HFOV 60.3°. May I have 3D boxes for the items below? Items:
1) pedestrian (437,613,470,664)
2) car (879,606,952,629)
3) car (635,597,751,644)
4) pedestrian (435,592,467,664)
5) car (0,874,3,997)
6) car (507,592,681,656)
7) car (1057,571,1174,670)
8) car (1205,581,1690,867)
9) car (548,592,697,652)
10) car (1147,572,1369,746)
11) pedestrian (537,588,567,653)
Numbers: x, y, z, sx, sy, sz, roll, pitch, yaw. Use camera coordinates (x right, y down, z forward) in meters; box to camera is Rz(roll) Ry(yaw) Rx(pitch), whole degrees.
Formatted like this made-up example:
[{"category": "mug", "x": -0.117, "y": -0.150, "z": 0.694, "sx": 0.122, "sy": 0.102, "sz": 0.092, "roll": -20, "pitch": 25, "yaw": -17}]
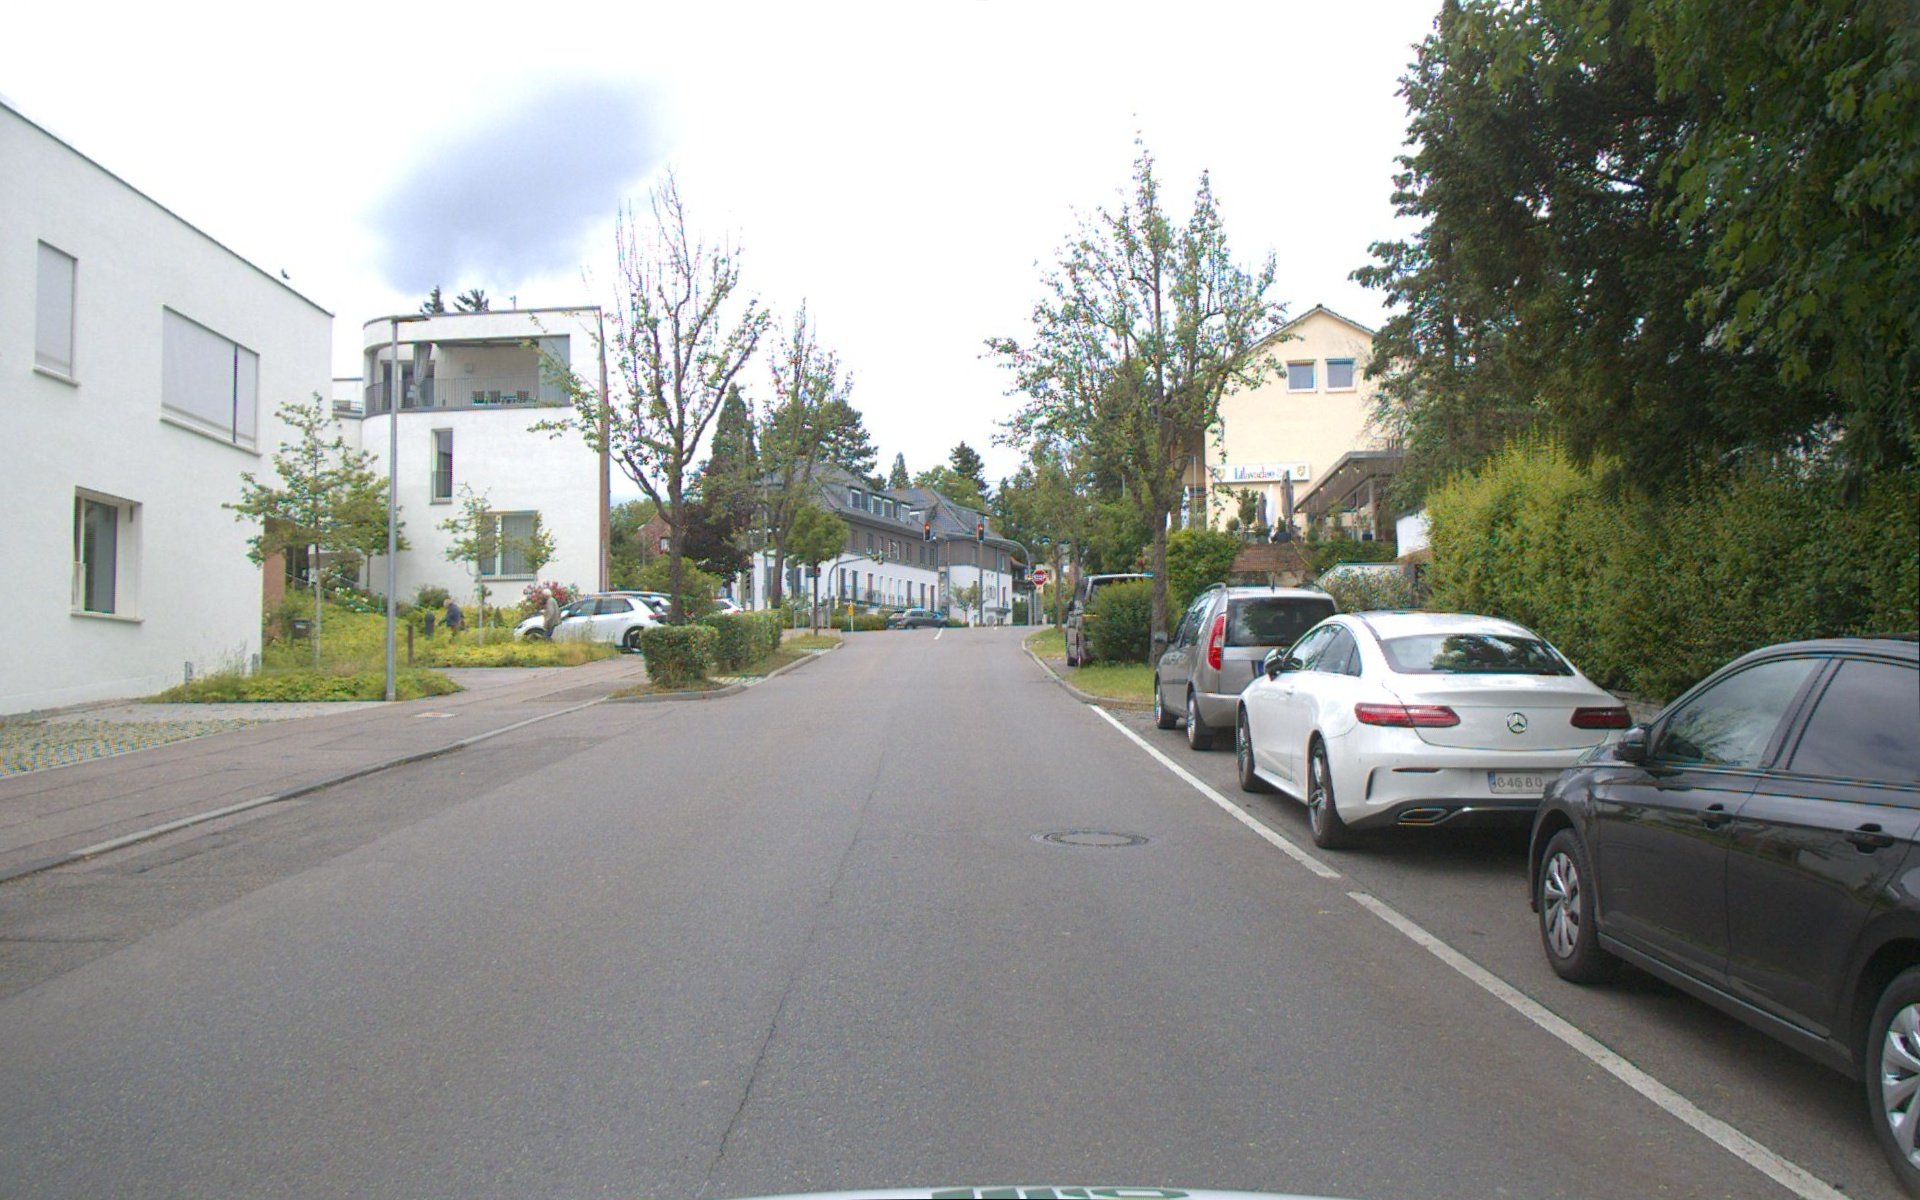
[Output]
[{"category": "pedestrian", "x": -13.141, "y": 1.002, "z": 42.920, "sx": 0.594, "sy": 1.305, "sz": 0.899, "roll": 0, "pitch": 0, "yaw": 0}, {"category": "car", "x": -2.675, "y": 1.052, "z": 99.142, "sx": 3.954, "sy": 1.310, "sz": 1.975, "roll": 1, "pitch": 0, "yaw": -35}, {"category": "car", "x": -10.329, "y": 0.799, "z": 64.267, "sx": 4.175, "sy": 1.651, "sz": 2.012, "roll": -2, "pitch": -1, "yaw": -3}, {"category": "pedestrian", "x": -12.214, "y": 0.668, "z": 39.708, "sx": 0.576, "sy": 1.711, "sz": 0.519, "roll": -1, "pitch": 0, "yaw": 1}, {"category": "car", "x": -4.556, "y": 0.809, "z": 4.008, "sx": 1.813, "sy": 1.495, "sz": 4.681, "roll": -2, "pitch": 0, "yaw": -2}, {"category": "car", "x": -9.994, "y": 0.634, "z": 45.436, "sx": 4.298, "sy": 1.594, "sz": 2.066, "roll": -2, "pitch": 0, "yaw": -2}, {"category": "car", "x": 3.130, "y": 0.395, "z": 34.261, "sx": 1.896, "sy": 1.870, "sz": 5.218, "roll": -1, "pitch": 0, "yaw": 0}, {"category": "car", "x": 3.064, "y": 0.674, "z": 11.649, "sx": 1.952, "sy": 1.517, "sz": 5.005, "roll": -2, "pitch": 0, "yaw": 1}, {"category": "car", "x": -9.766, "y": 0.635, "z": 48.080, "sx": 3.905, "sy": 1.682, "sz": 2.008, "roll": 0, "pitch": 0, "yaw": 1}, {"category": "car", "x": 3.091, "y": 0.572, "z": 17.897, "sx": 1.682, "sy": 1.661, "sz": 3.928, "roll": 1, "pitch": 0, "yaw": 0}, {"category": "pedestrian", "x": -10.654, "y": 0.543, "z": 43.181, "sx": 0.581, "sy": 1.669, "sz": 0.565, "roll": -2, "pitch": 0, "yaw": 1}]
